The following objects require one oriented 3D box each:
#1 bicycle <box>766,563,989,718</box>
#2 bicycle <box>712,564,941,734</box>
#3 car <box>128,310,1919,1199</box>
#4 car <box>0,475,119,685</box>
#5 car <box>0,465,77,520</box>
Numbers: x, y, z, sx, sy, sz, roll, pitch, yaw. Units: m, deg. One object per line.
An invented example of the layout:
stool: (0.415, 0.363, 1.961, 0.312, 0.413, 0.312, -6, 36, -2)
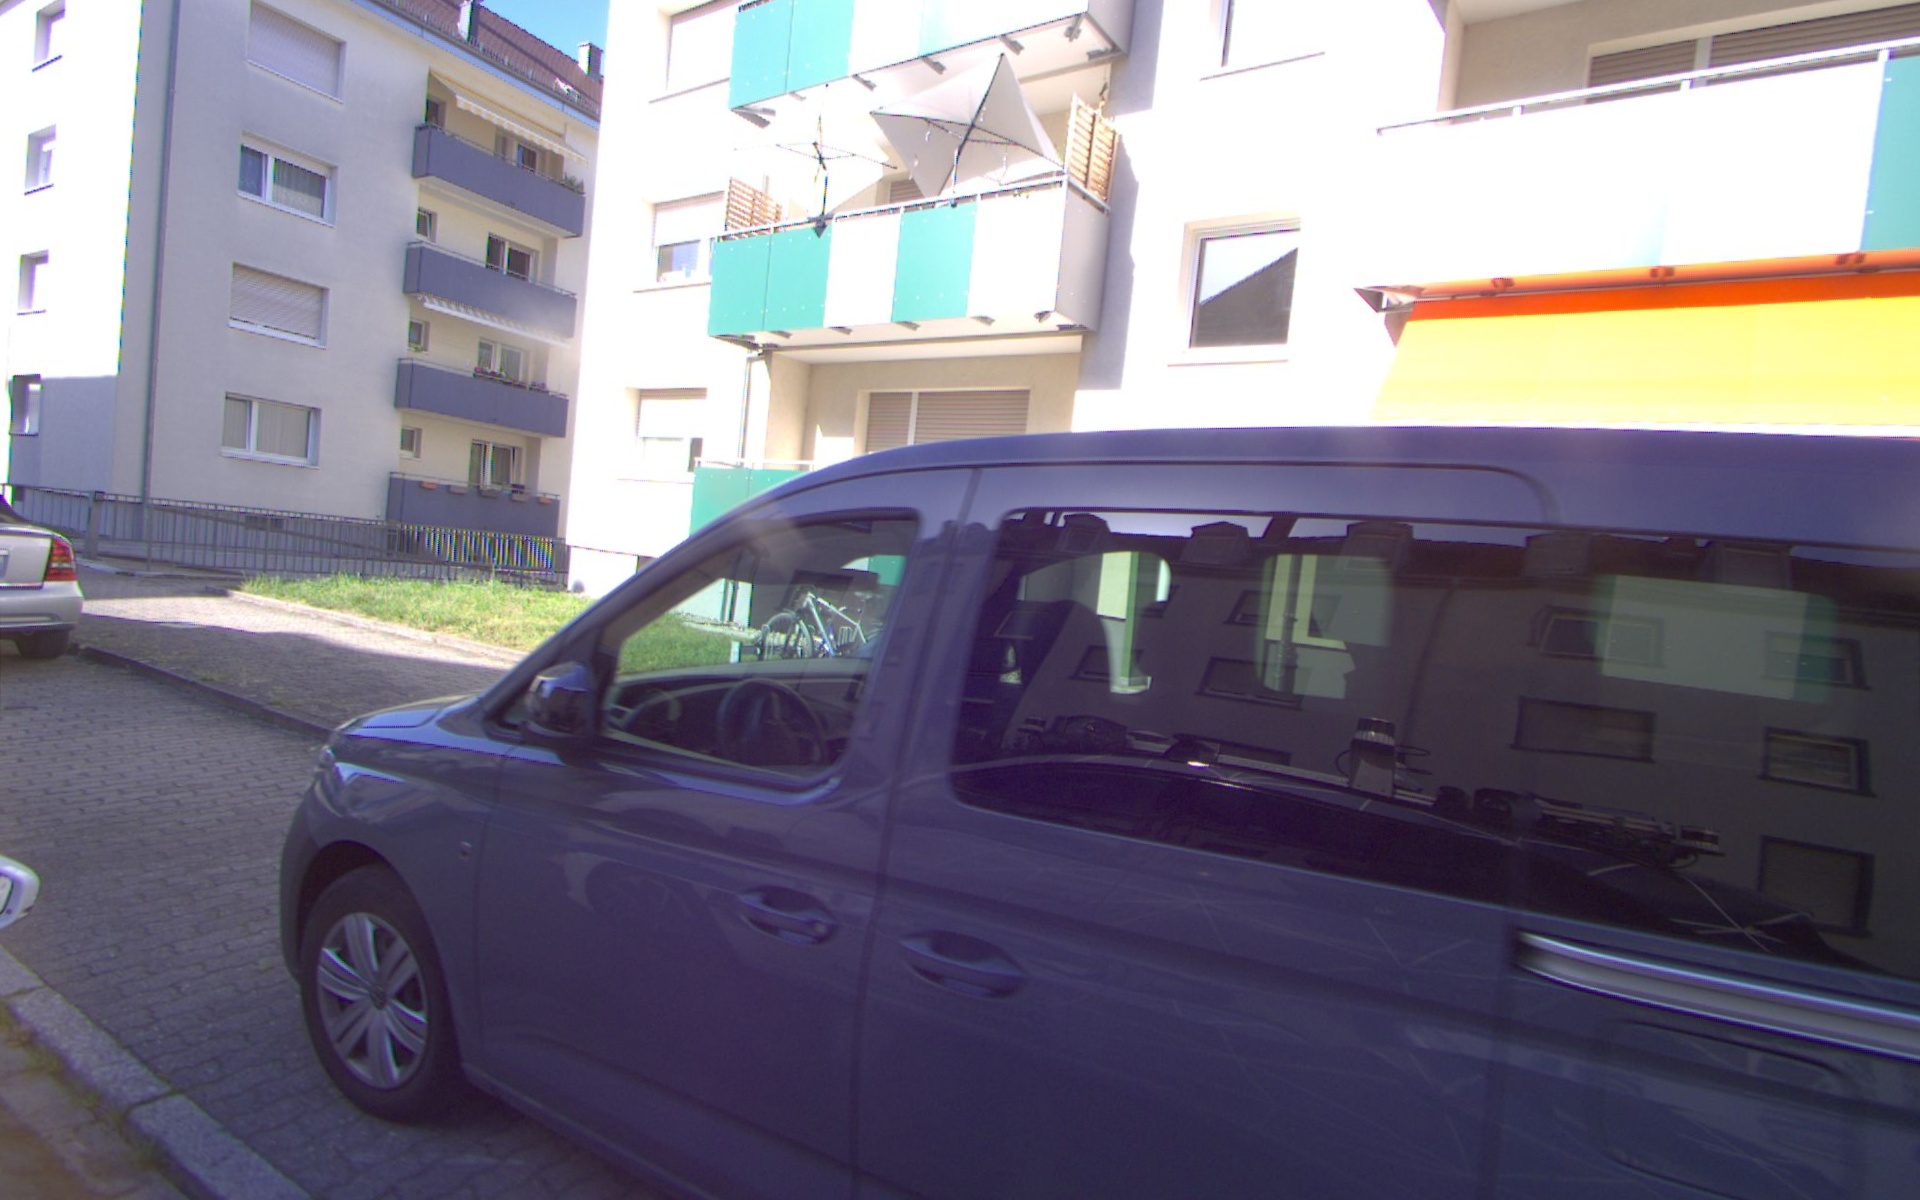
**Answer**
bicycle: (-0.756, 0.304, 8.610, 2.044, 1.058, 0.504, 7, 2, 39)
bicycle: (-1.142, 0.349, 8.207, 2.044, 1.107, 0.504, 7, 2, 39)
car: (-0.016, 0.487, 2.550, 4.837, 1.866, 1.758, 7, 5, 31)
car: (-8.593, -0.339, 7.873, 4.240, 1.427, 1.741, 7, 5, 30)
car: (-31.447, -3.610, 32.473, 1.595, 1.569, 4.074, 7, 2, 30)
